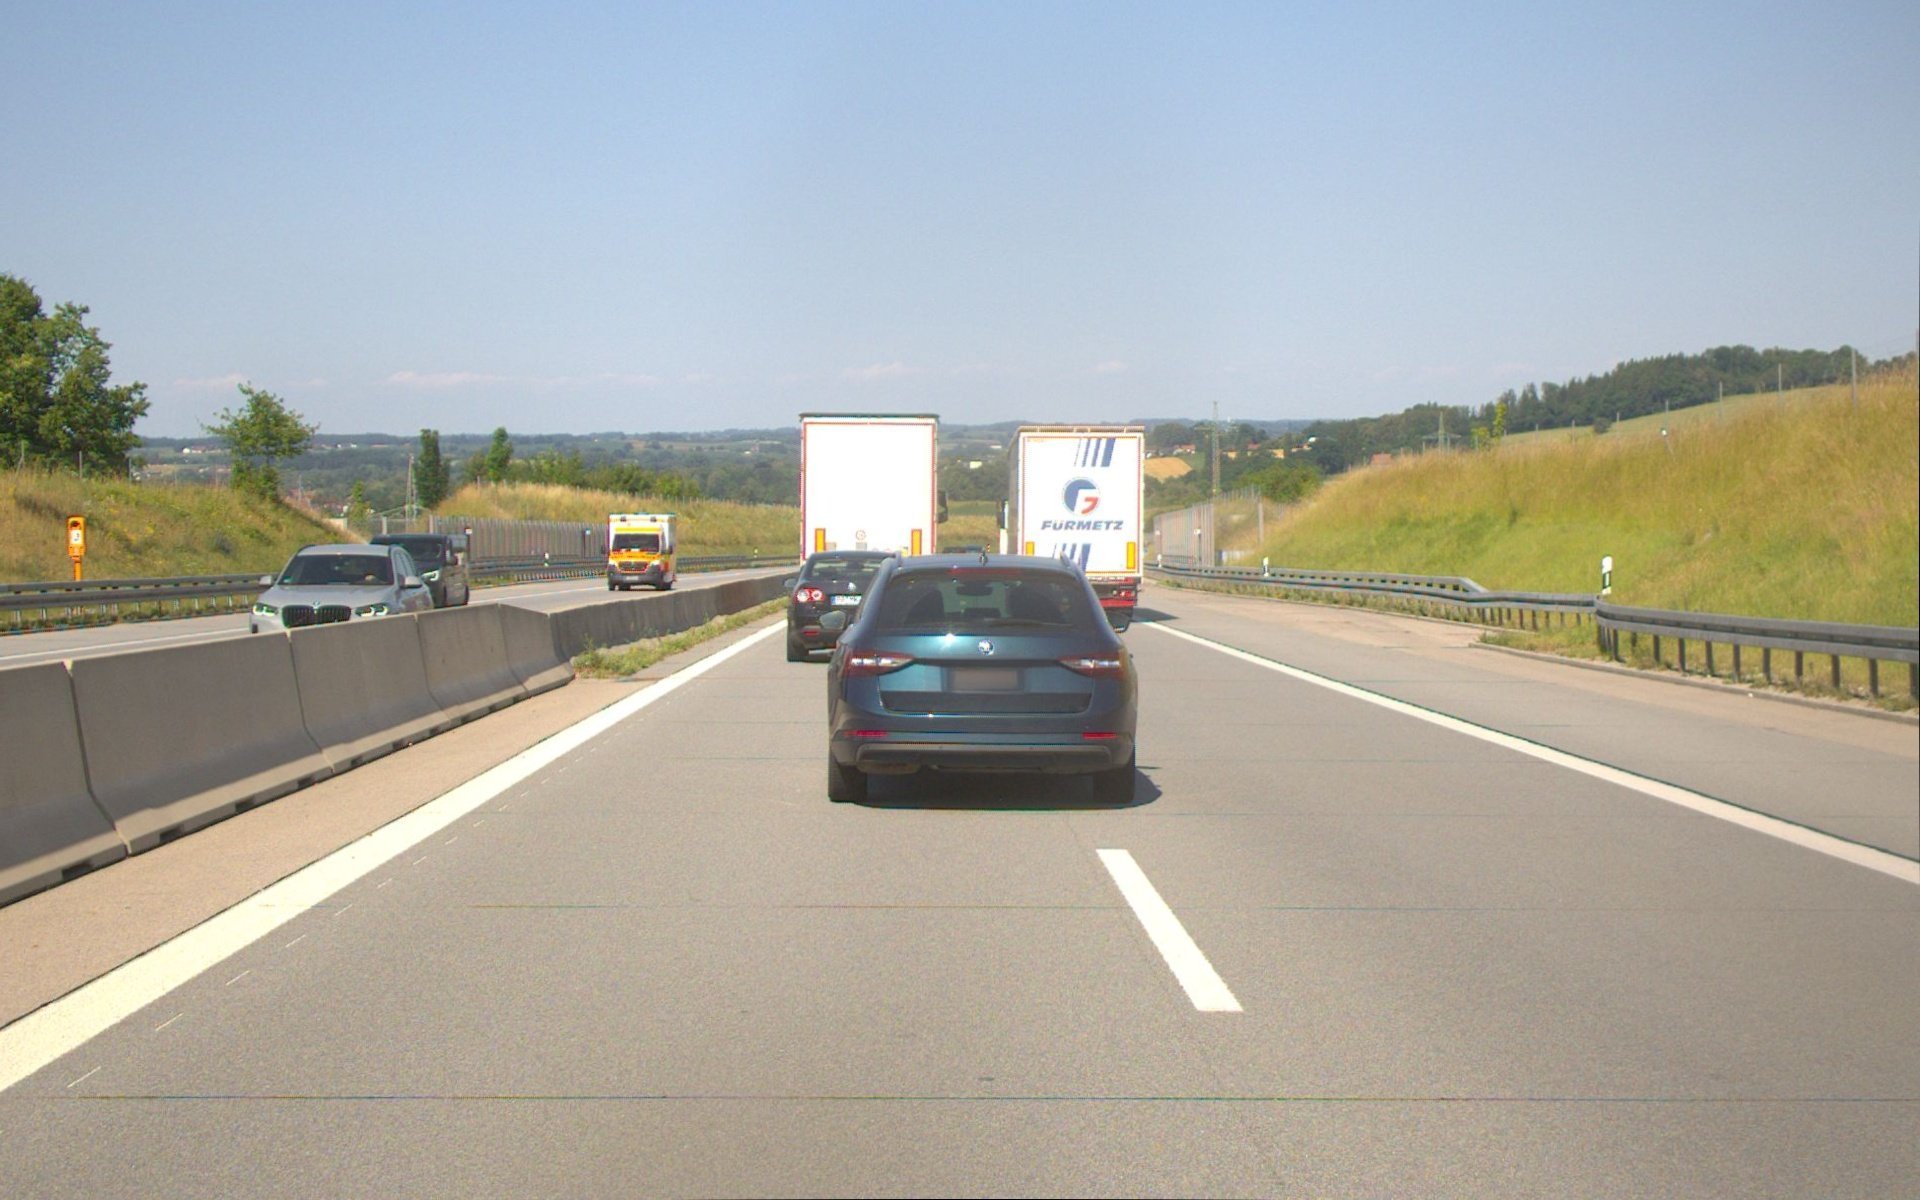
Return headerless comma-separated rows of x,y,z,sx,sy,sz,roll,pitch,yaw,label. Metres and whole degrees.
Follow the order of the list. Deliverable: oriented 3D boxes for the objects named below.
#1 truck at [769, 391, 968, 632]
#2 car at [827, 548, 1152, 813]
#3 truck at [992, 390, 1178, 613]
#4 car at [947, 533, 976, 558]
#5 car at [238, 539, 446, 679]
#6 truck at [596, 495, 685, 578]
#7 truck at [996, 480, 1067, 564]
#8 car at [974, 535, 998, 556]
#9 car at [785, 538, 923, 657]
-1.688,-1.762,69.739,3.211,4.366,11.233,-2,1,2,truck
0.092,0.413,20.766,1.776,1.436,3.789,0,1,-2,car
2.680,-2.096,75.080,3.604,4.366,11.233,-2,1,2,truck
0.081,-3.229,202.097,1.700,1.436,4.000,0,1,0,car
-8.132,0.072,45.657,1.931,1.726,4.886,1,1,-1,car
-11.871,-2.368,128.102,2.774,3.011,6.793,0,1,-1,truck
3.961,-4.263,188.836,3.604,4.366,11.233,-2,1,2,truck
1.836,-3.851,242.435,1.700,1.436,4.000,0,1,0,car
-1.416,-0.072,45.618,1.700,1.436,4.001,-2,1,-2,car
